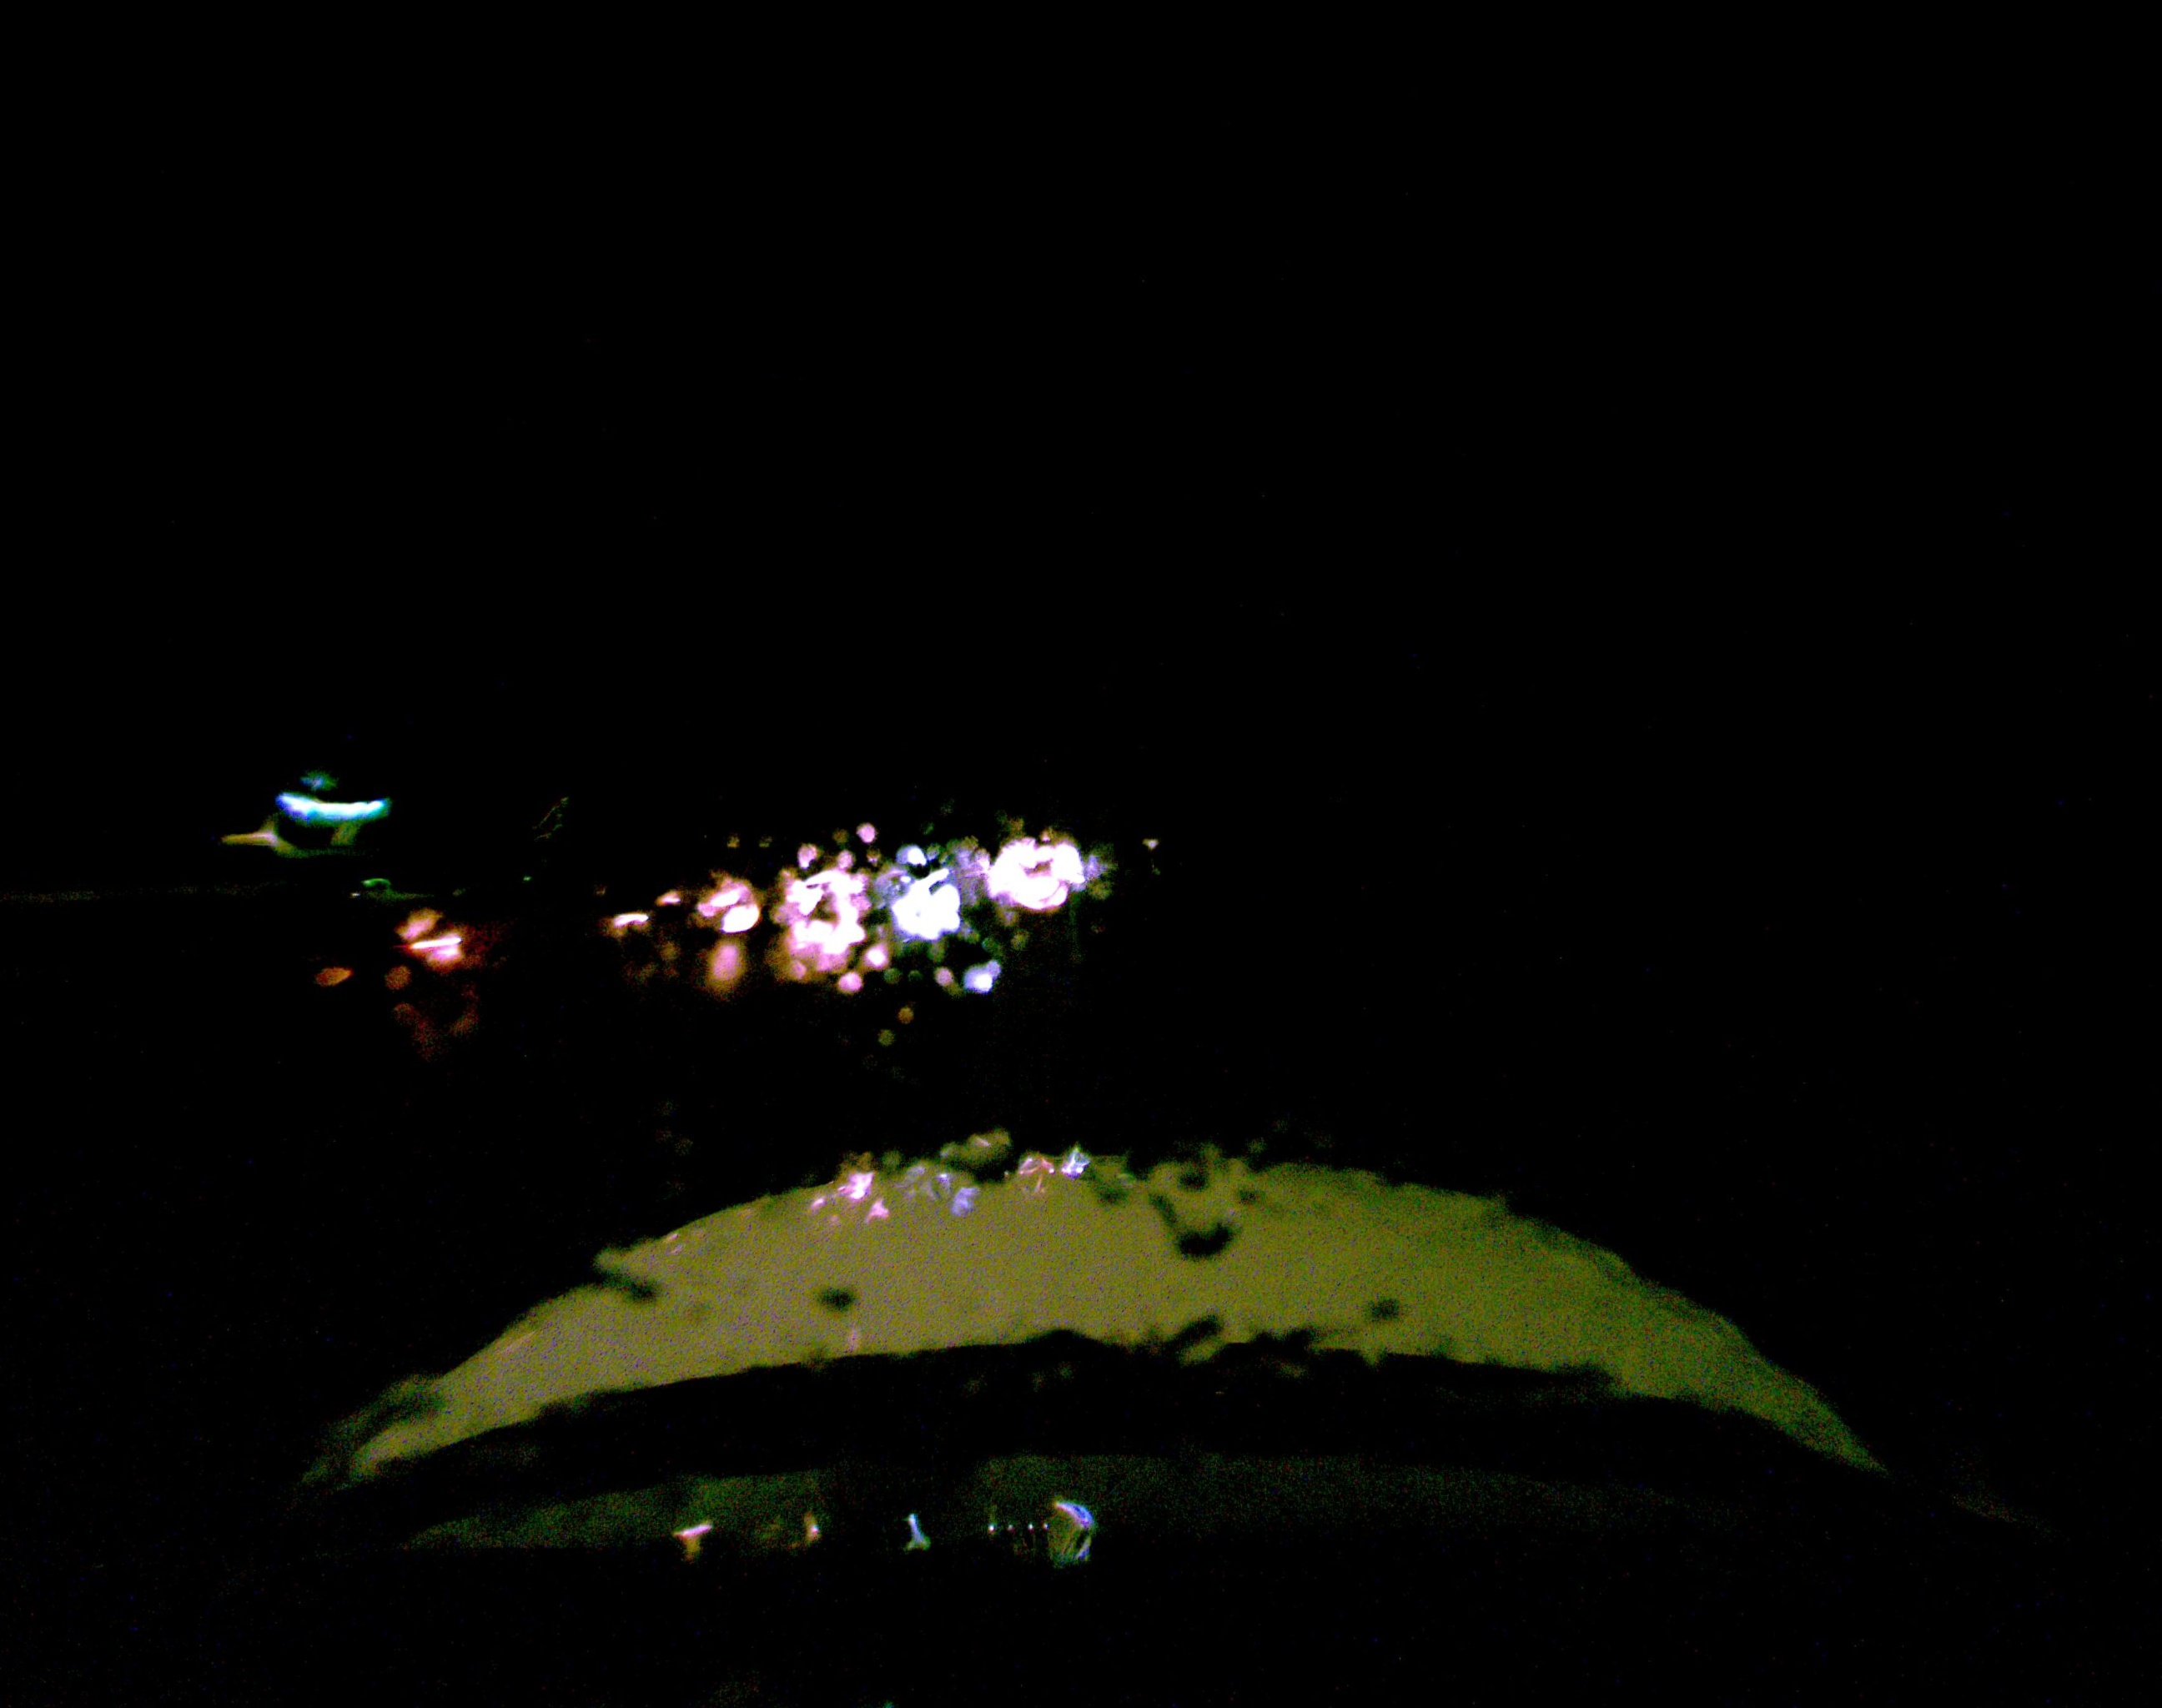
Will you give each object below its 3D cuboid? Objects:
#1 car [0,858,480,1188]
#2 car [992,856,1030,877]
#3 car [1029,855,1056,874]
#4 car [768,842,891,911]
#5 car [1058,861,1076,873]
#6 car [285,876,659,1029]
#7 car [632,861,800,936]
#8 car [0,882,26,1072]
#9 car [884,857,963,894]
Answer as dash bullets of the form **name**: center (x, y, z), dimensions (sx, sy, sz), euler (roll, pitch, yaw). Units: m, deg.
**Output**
- **car**: center (-6.100, 0.820, 4.613), dimensions (1.949, 1.571, 4.468), euler (0, -1, 2)
- **car**: center (-5.437, 0.921, 64.005), dimensions (2.073, 1.542, 4.905), euler (-1, 0, 5)
- **car**: center (-3.924, 1.046, 83.425), dimensions (1.984, 1.865, 5.327), euler (-1, 0, 5)
- **car**: center (-8.027, 0.672, 26.565), dimensions (2.144, 2.014, 5.000), euler (0, 0, 4)
- **car**: center (-1.859, 1.727, 110.290), dimensions (2.101, 1.575, 4.684), euler (0, 0, 4)
- **car**: center (-8.633, 1.267, 12.221), dimensions (1.984, 1.746, 4.504), euler (0, 0, 5)
- **car**: center (-8.219, 0.935, 18.744), dimensions (1.956, 1.529, 3.693), euler (0, 0, 5)
- **car**: center (-9.320, 0.923, 4.633), dimensions (1.815, 1.452, 3.604), euler (0, -1, 3)
- **car**: center (-7.116, 0.931, 37.453), dimensions (2.171, 1.558, 5.211), euler (-1, 0, 5)
